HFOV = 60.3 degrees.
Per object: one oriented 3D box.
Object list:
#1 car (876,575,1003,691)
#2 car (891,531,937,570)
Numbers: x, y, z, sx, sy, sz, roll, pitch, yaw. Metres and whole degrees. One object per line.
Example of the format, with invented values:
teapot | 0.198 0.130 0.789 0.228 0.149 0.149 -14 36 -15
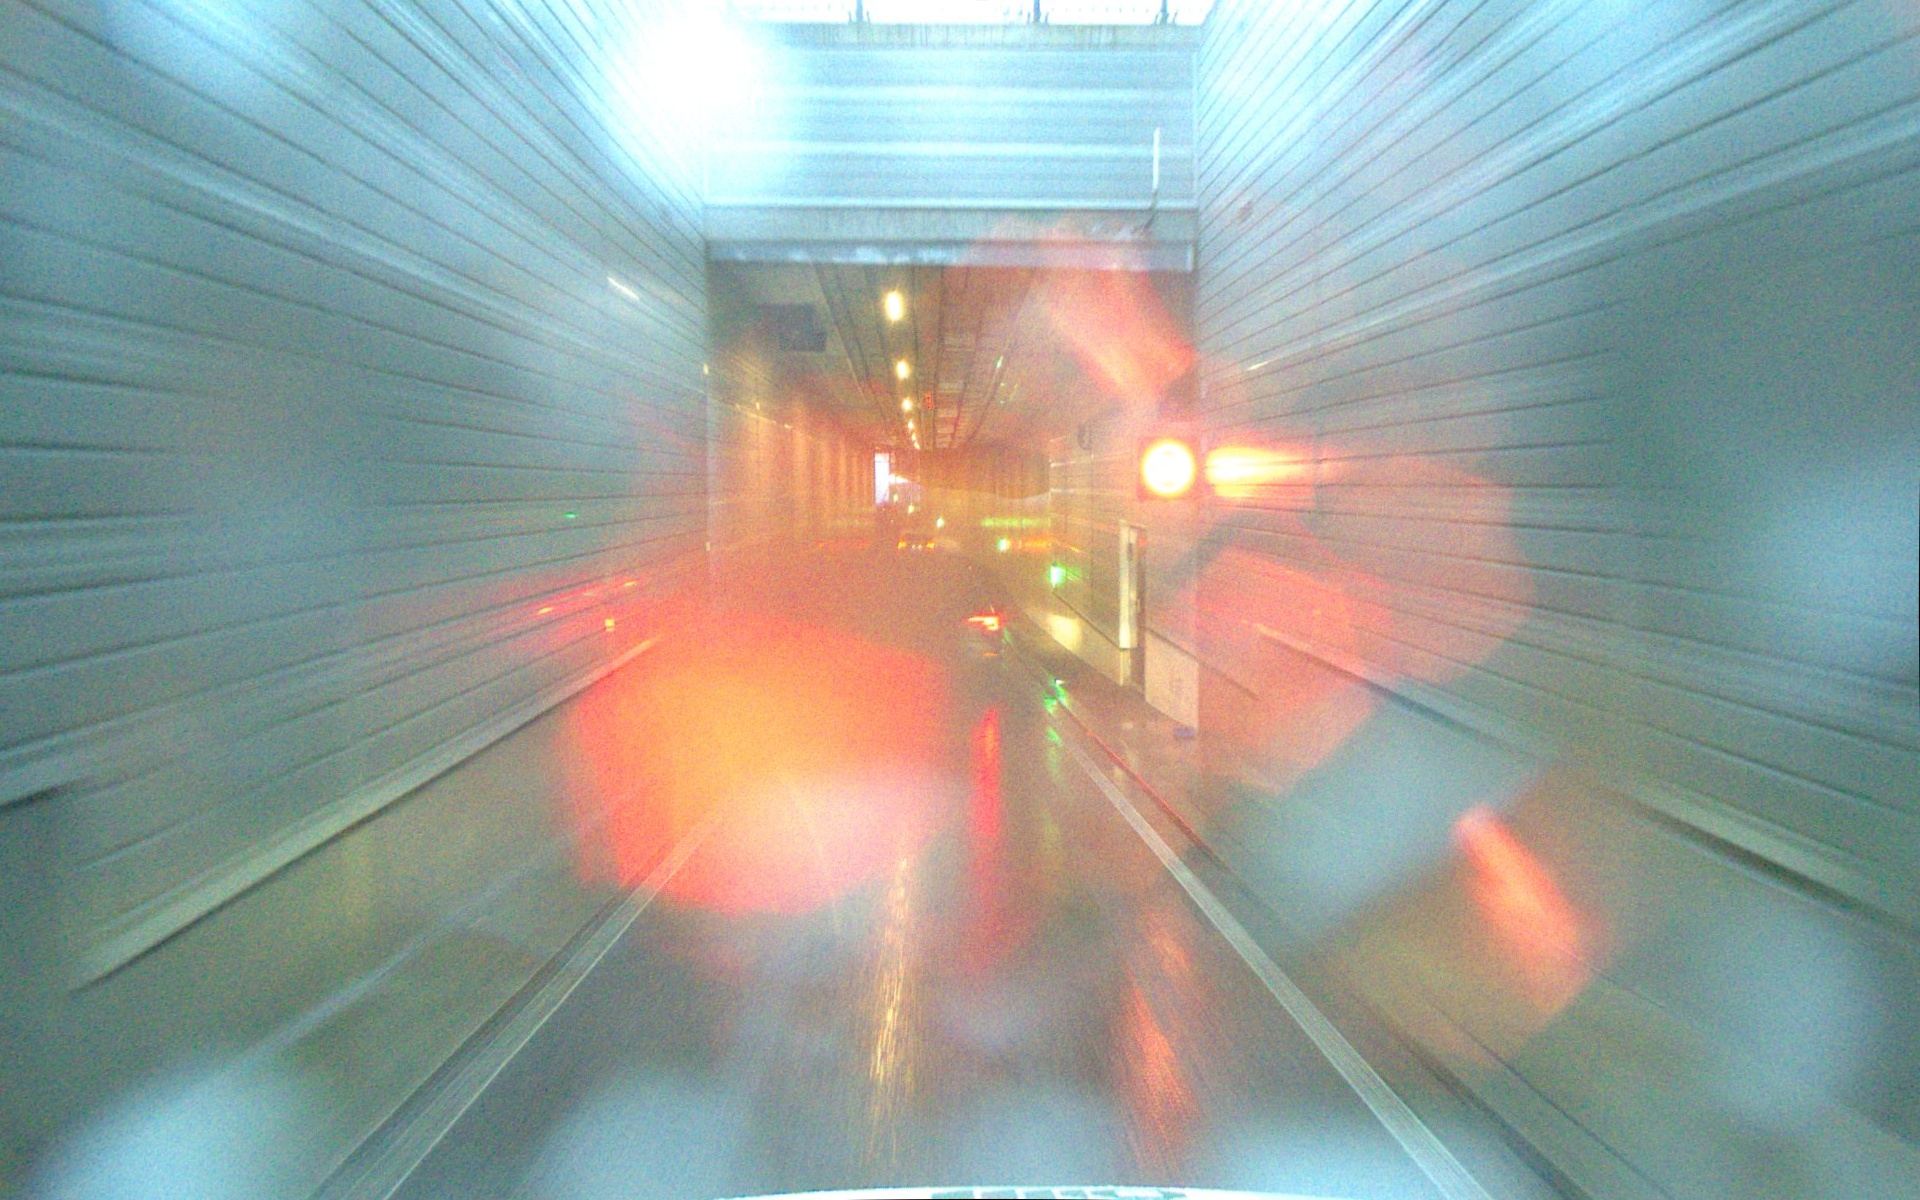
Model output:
car | -0.265 0.420 24.526 1.687 1.505 4.000 2 1 0
car | -2.037 -2.160 71.969 1.881 1.511 4.000 1 3 -3
